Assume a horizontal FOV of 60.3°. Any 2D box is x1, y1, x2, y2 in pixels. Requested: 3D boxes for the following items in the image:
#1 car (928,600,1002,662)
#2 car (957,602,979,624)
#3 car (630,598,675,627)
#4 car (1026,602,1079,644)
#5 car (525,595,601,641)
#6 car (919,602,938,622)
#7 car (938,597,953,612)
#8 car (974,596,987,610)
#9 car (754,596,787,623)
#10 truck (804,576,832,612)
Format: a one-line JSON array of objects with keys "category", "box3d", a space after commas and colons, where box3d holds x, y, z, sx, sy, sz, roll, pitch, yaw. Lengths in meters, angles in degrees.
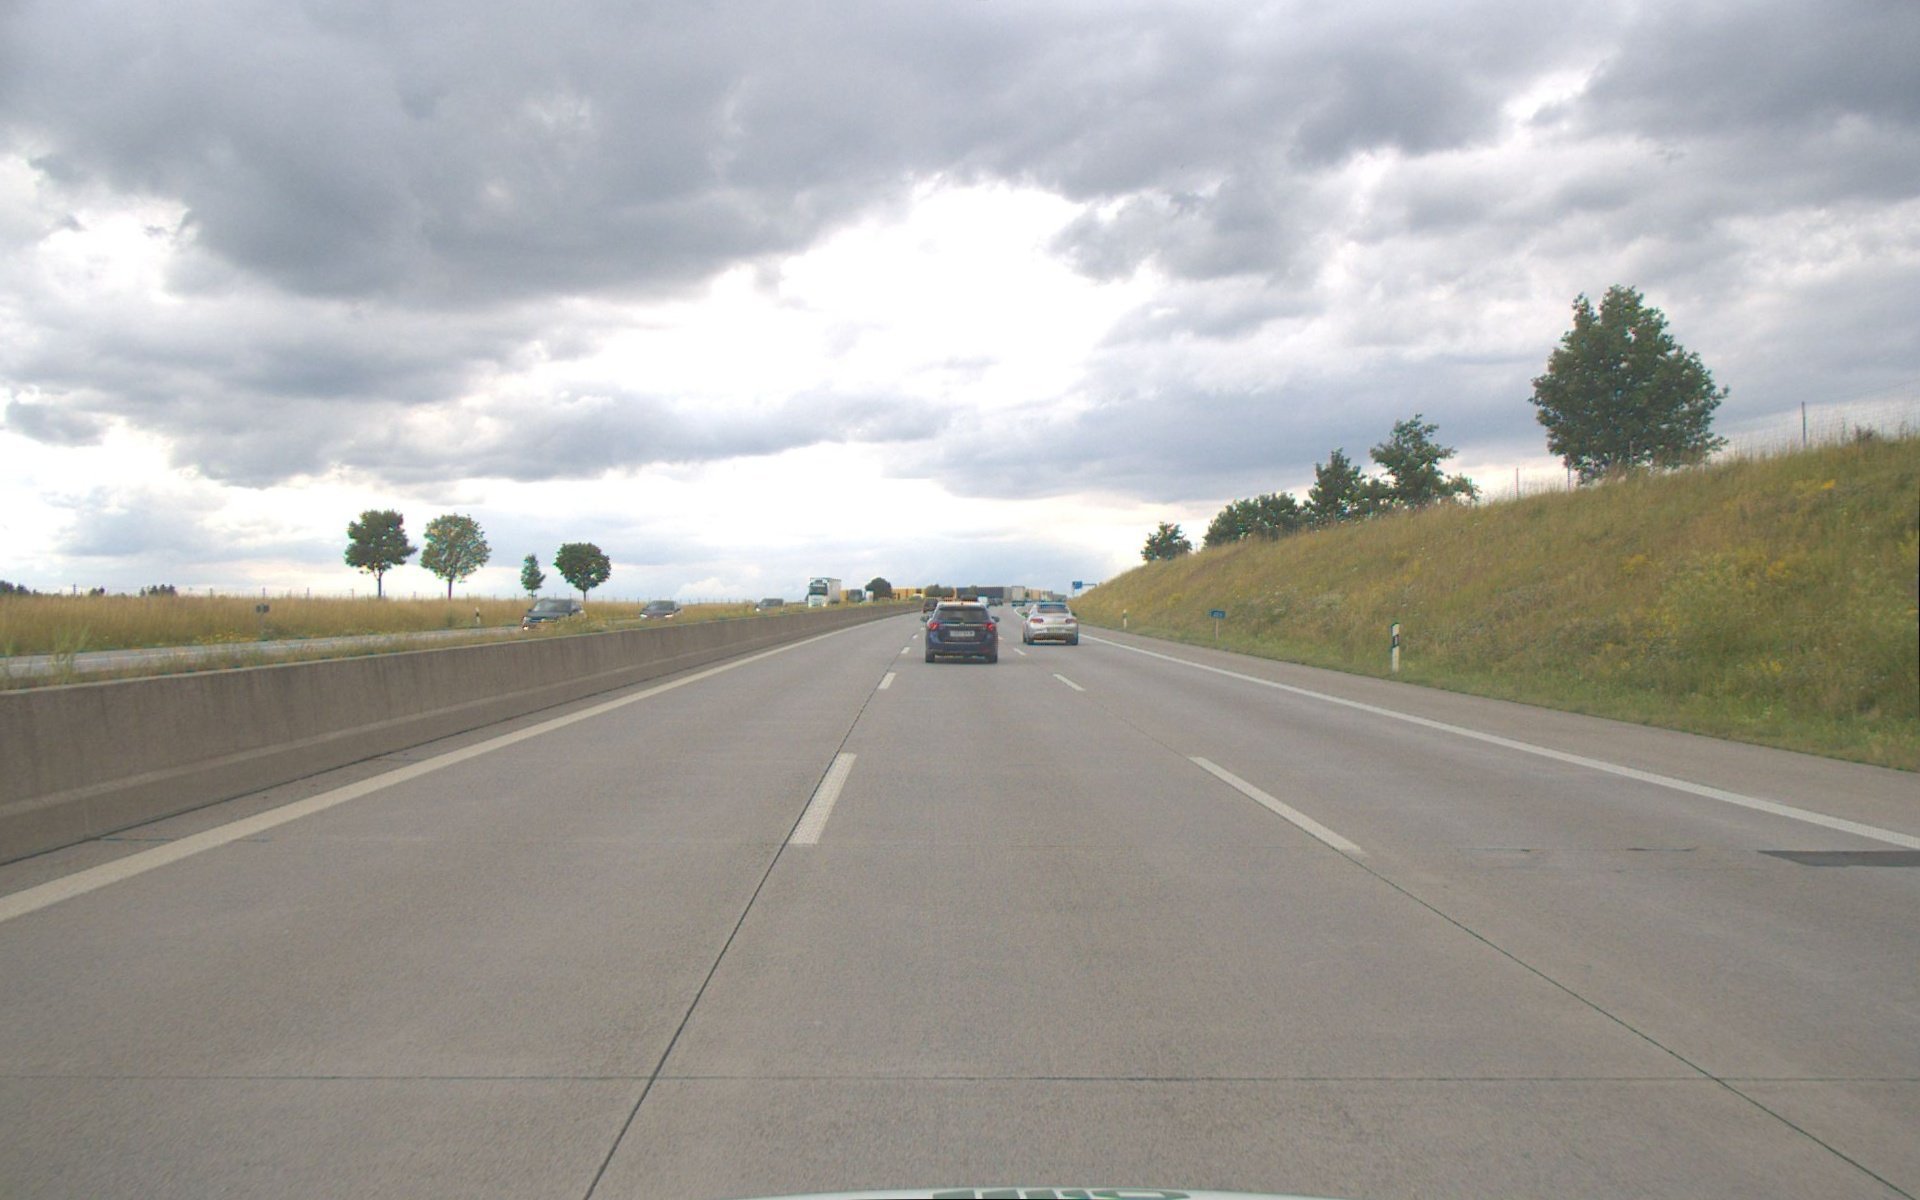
[{"category": "car", "box3d": [0.132, 0.735, 40.622, 1.738, 1.438, 4.000, 0, 0, 0]}, {"category": "car", "box3d": [0.798, 1.263, 161.259, 1.953, 2.049, 3.998, 1, -1, -2]}, {"category": "car", "box3d": [-15.838, 0.633, 85.408, 1.628, 1.423, 3.999, 0, 0, -1]}, {"category": "car", "box3d": [3.204, 0.787, 57.916, 1.751, 1.428, 4.222, 0, 0, 2]}, {"category": "car", "box3d": [-15.026, 0.657, 62.775, 1.953, 1.713, 4.062, 0, 0, -1]}, {"category": "car", "box3d": [-3.339, 1.245, 175.504, 2.005, 2.049, 3.999, 1, -1, -1]}, {"category": "car", "box3d": [-2.001, 0.683, 231.329, 1.953, 2.049, 3.998, 1, -1, -2]}, {"category": "car", "box3d": [3.198, 0.460, 256.675, 1.952, 2.049, 4.001, 1, -1, 2]}, {"category": "car", "box3d": [-11.875, 0.594, 104.038, 1.655, 1.638, 3.999, 0, 0, -1]}, {"category": "truck", "box3d": [-17.821, -0.738, 208.341, 2.782, 4.330, 6.092, 1, -1, 1]}]
